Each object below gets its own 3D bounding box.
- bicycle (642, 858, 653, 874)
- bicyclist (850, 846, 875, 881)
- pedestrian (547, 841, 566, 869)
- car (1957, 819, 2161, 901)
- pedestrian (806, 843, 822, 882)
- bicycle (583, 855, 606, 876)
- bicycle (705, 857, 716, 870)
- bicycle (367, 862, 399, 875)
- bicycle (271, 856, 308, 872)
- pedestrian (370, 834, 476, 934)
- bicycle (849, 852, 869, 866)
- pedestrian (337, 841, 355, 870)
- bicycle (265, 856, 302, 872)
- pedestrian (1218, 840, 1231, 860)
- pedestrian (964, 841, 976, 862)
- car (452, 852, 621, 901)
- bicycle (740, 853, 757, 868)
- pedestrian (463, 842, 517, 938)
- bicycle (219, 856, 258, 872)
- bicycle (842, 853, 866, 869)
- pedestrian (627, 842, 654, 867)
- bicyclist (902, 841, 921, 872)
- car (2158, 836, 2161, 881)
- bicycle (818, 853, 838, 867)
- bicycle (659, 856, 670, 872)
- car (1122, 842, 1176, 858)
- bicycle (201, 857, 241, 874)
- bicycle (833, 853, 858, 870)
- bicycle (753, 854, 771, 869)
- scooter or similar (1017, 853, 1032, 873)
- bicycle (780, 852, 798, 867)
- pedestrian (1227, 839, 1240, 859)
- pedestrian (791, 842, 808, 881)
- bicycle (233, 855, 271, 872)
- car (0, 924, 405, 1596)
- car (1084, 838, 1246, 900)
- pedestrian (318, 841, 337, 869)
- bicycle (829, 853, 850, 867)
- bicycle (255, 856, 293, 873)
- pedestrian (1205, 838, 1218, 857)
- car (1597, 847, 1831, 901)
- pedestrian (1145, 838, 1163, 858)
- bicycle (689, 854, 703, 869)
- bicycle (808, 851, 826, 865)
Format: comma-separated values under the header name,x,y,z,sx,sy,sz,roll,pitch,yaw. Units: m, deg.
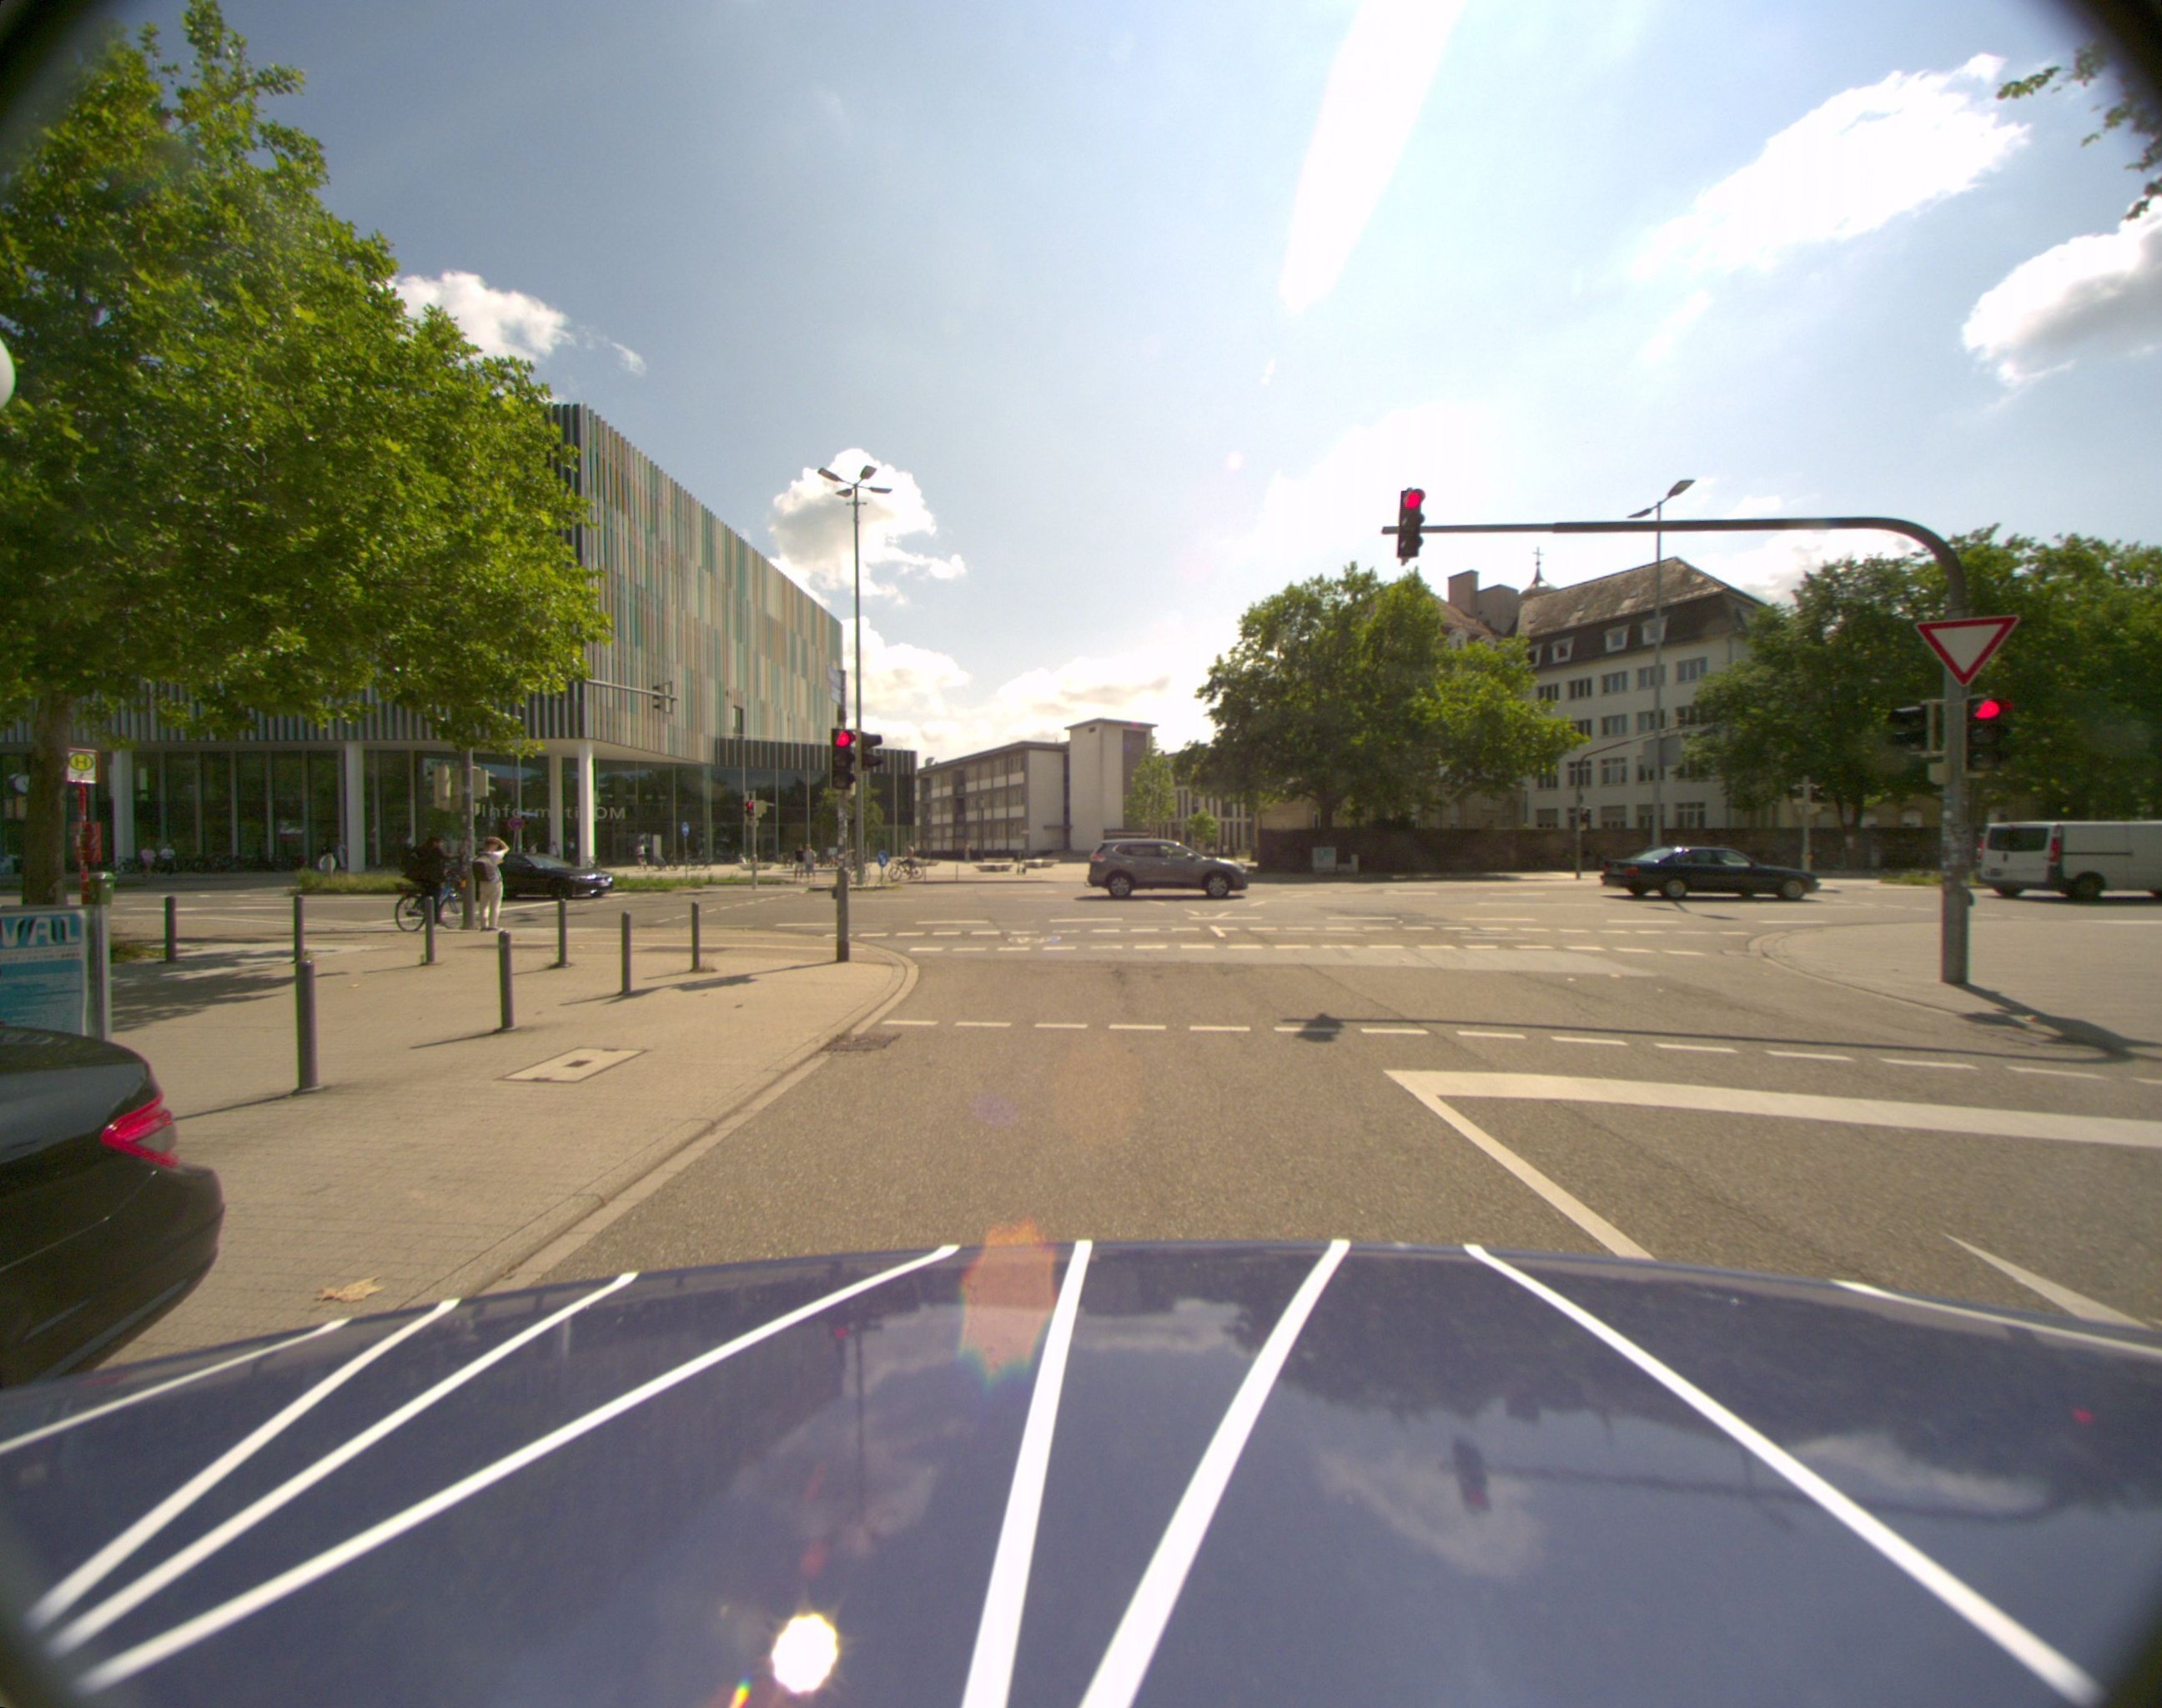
name,x,y,z,sx,sy,sz,roll,pitch,yaw
bicycle,-27.306,0.723,47.859,0.374,0.950,1.542,-2,2,-37
bicyclist,-10.284,0.422,35.819,1.001,1.606,0.656,-2,2,-27
pedestrian,-34.218,0.052,49.553,0.677,1.832,0.691,0,2,9
car,26.178,0.115,19.274,5.187,1.944,2.013,-1,2,6
pedestrian,-12.643,0.399,35.950,0.575,1.832,0.415,-1,2,-3
bicycle,-29.566,0.664,46.201,0.373,1.181,1.546,0,3,0
bicycle,-24.335,0.605,49.870,0.530,0.760,1.769,-2,2,-30
bicycle,-43.601,0.899,47.479,0.373,0.772,1.546,0,3,5
bicycle,-48.941,0.610,46.987,0.373,0.950,1.548,0,3,17
pedestrian,-12.564,0.574,14.560,0.855,1.808,1.177,2,-3,5
bicycle,-16.151,0.371,55.265,1.768,0.950,0.530,1,2,40
pedestrian,-47.270,0.065,48.868,0.554,1.832,0.561,-1,2,-6
bicycle,-49.448,0.607,47.140,0.373,0.950,1.548,0,3,17
pedestrian,13.048,-0.390,68.916,0.890,1.780,0.845,0,1,35
pedestrian,-9.192,-0.205,62.892,0.845,1.780,0.676,-2,2,-28
car,-16.938,0.689,23.725,4.184,1.408,1.831,-1,2,10
bicycle,-22.387,0.427,51.103,0.530,0.950,1.768,-2,3,-41
pedestrian,-11.285,0.684,14.518,0.594,1.790,0.612,-1,-1,26
bicycle,-51.901,0.607,46.834,0.373,0.950,1.548,0,3,17
bicycle,-14.006,0.445,46.843,1.768,0.950,0.530,1,2,40
pedestrian,-29.370,0.050,50.700,1.014,1.641,1.183,-1,1,2
bicyclist,-8.311,0.112,37.181,0.787,1.530,0.656,-2,2,-23
car,36.526,0.154,23.397,3.800,1.464,1.754,0,2,7
bicycle,-18.064,0.402,54.227,1.768,0.950,0.530,1,2,40
bicycle,-26.676,0.654,48.687,0.374,0.950,1.768,-2,2,-37
car,6.133,-0.363,68.237,4.501,1.299,1.995,-2,3,-30
bicycle,-52.653,0.675,46.541,0.373,0.950,1.548,0,3,17
bicycle,-14.392,0.444,46.388,1.768,0.950,0.530,1,2,40
bicycle,-21.705,0.526,51.693,0.530,0.950,1.768,-6,5,-41
scooter or similar,-3.040,0.468,40.710,0.403,1.061,1.149,-2,1,-25
bicycle,-20.460,0.372,53.203,0.530,0.950,1.768,-2,3,-44
pedestrian,13.712,-0.490,68.141,0.863,1.780,0.845,0,1,35
pedestrian,-13.325,0.348,35.961,0.633,1.832,0.479,-1,2,-13
bicycle,-51.329,0.591,47.065,0.373,0.950,1.548,0,3,17
car,-3.348,0.993,0.256,1.722,1.392,4.948,1,1,2
car,2.428,0.401,22.040,4.472,1.669,1.826,-1,2,7
pedestrian,-48.873,0.069,49.271,0.554,1.832,0.561,-1,2,-6
bicycle,-17.327,0.412,54.501,1.768,0.950,0.530,1,2,40
bicycle,-50.135,0.622,47.210,0.373,0.950,1.548,0,3,17
pedestrian,11.959,-0.581,69.646,0.812,1.780,0.845,0,2,34
car,16.864,0.497,20.469,4.607,1.378,1.698,0,1,9
pedestrian,6.098,-0.517,63.428,1.297,1.642,1.327,-1,1,15
bicycle,-25.082,0.467,49.530,0.529,0.950,1.770,-1,2,-18
bicycle,-18.723,0.311,53.907,0.530,0.950,1.768,-2,3,-44
